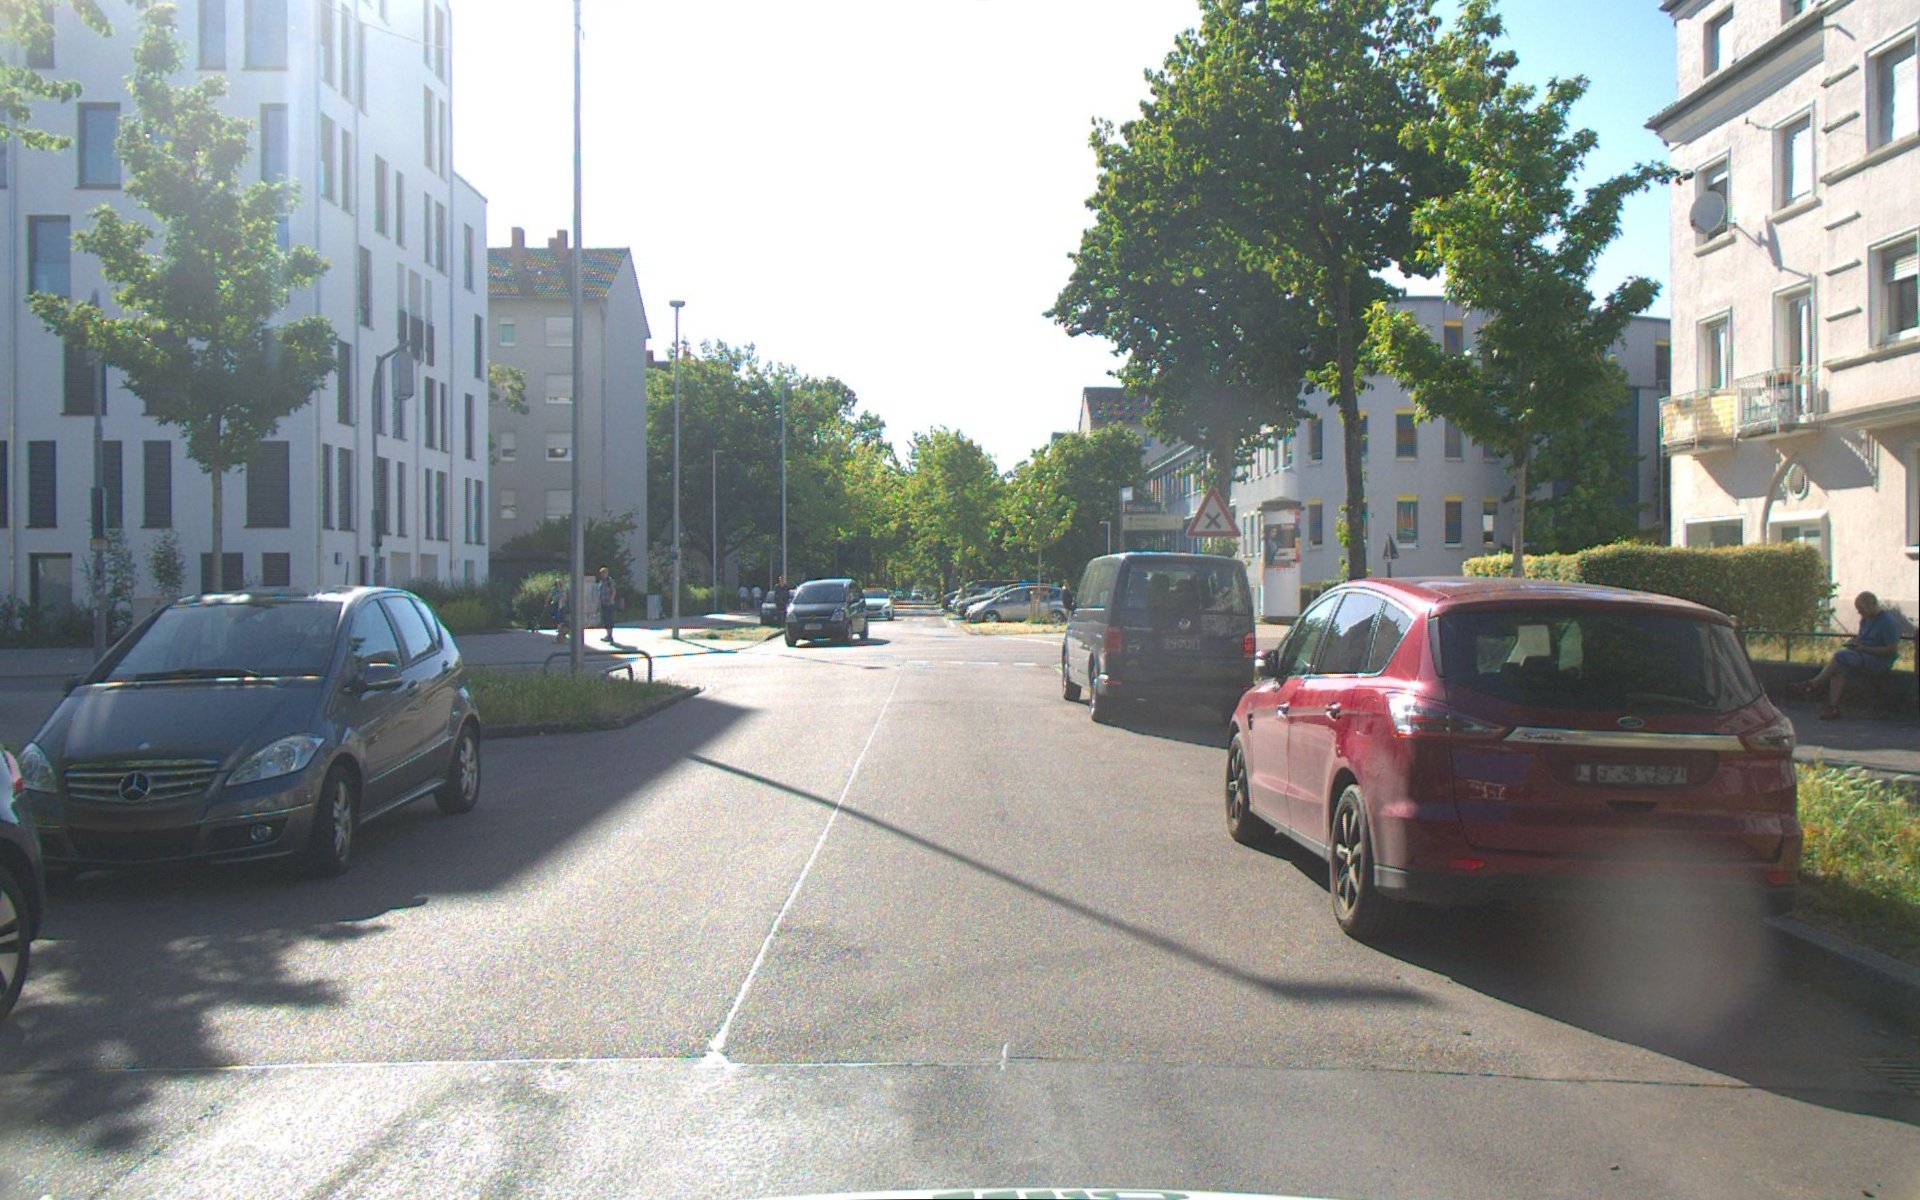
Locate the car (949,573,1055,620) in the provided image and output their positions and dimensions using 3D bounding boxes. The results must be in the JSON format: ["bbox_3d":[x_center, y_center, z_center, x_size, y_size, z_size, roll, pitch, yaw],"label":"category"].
[{"bbox_3d":[1.709,-0.144,68.438,4.194,1.795,1.999,2,0,-4],"label":"car"}]

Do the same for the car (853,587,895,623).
[{"bbox_3d":[-3.986,0.229,77.143,1.848,1.531,4.636,2,0,-2],"label":"car"}]

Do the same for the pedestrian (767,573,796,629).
[{"bbox_3d":[-5.669,0.026,52.635,0.853,1.744,0.978,-1,0,-5],"label":"pedestrian"}]

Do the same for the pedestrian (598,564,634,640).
[{"bbox_3d":[-8.800,0.053,42.304,0.829,1.918,0.789,2,0,-11],"label":"pedestrian"}]

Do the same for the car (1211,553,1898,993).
[{"bbox_3d":[2.613,0.655,8.698,1.860,1.641,4.972,0,0,0],"label":"car"}]

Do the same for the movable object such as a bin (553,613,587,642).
[{"bbox_3d":[-9.806,0.699,41.570,0.267,0.691,0.846,-1,1,36],"label":"movable object such as a bin"}]

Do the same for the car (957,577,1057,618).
[{"bbox_3d":[2.004,-0.100,71.266,4.120,1.624,1.999,2,0,-3],"label":"car"}]

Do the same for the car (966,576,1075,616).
[{"bbox_3d":[2.299,-0.143,63.217,4.008,1.518,1.727,0,0,-4],"label":"car"}]

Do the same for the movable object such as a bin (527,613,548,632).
[{"bbox_3d":[-12.459,0.667,48.787,0.266,0.551,0.686,0,0,19],"label":"movable object such as a bin"}]

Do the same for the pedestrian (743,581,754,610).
[{"bbox_3d":[-12.552,-0.285,97.997,0.622,1.693,0.698,-1,0,-7],"label":"pedestrian"}]

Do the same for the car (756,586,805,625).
[{"bbox_3d":[-6.985,0.203,64.626,1.634,1.445,3.997,2,0,-3],"label":"car"}]

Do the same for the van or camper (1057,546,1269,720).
[{"bbox_3d":[2.437,0.377,21.222,1.949,1.895,5.386,2,0,-1],"label":"van or camper"}]

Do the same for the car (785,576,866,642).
[{"bbox_3d":[-3.429,0.227,42.796,1.701,1.557,4.114,2,0,1],"label":"car"}]

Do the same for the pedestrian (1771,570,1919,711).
[{"bbox_3d":[8.696,0.390,16.211,1.060,1.318,0.818,2,-1,-2],"label":"pedestrian"}]

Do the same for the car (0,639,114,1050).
[{"bbox_3d":[-4.136,0.853,4.508,1.626,1.419,4.090,2,0,-2],"label":"car"}]

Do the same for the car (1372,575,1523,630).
[{"bbox_3d":[14.088,0.080,47.810,4.075,1.530,1.827,1,0,-27],"label":"car"}]

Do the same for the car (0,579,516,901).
[{"bbox_3d":[-4.175,0.711,10.449,1.685,1.590,4.107,-1,0,-1],"label":"car"}]

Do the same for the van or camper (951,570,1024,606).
[{"bbox_3d":[1.522,-0.658,91.933,3.906,1.803,1.999,2,0,-2],"label":"van or camper"}]

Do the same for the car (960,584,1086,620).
[{"bbox_3d":[2.470,0.074,65.260,4.775,1.296,1.727,-1,0,-6],"label":"car"}]

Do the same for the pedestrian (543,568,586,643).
[{"bbox_3d":[-11.571,0.152,48.431,0.762,2.157,0.953,1,2,42],"label":"pedestrian"}]

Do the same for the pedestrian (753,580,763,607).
[{"bbox_3d":[-12.370,-0.400,101.371,0.622,1.693,0.698,-1,0,-7],"label":"pedestrian"}]
